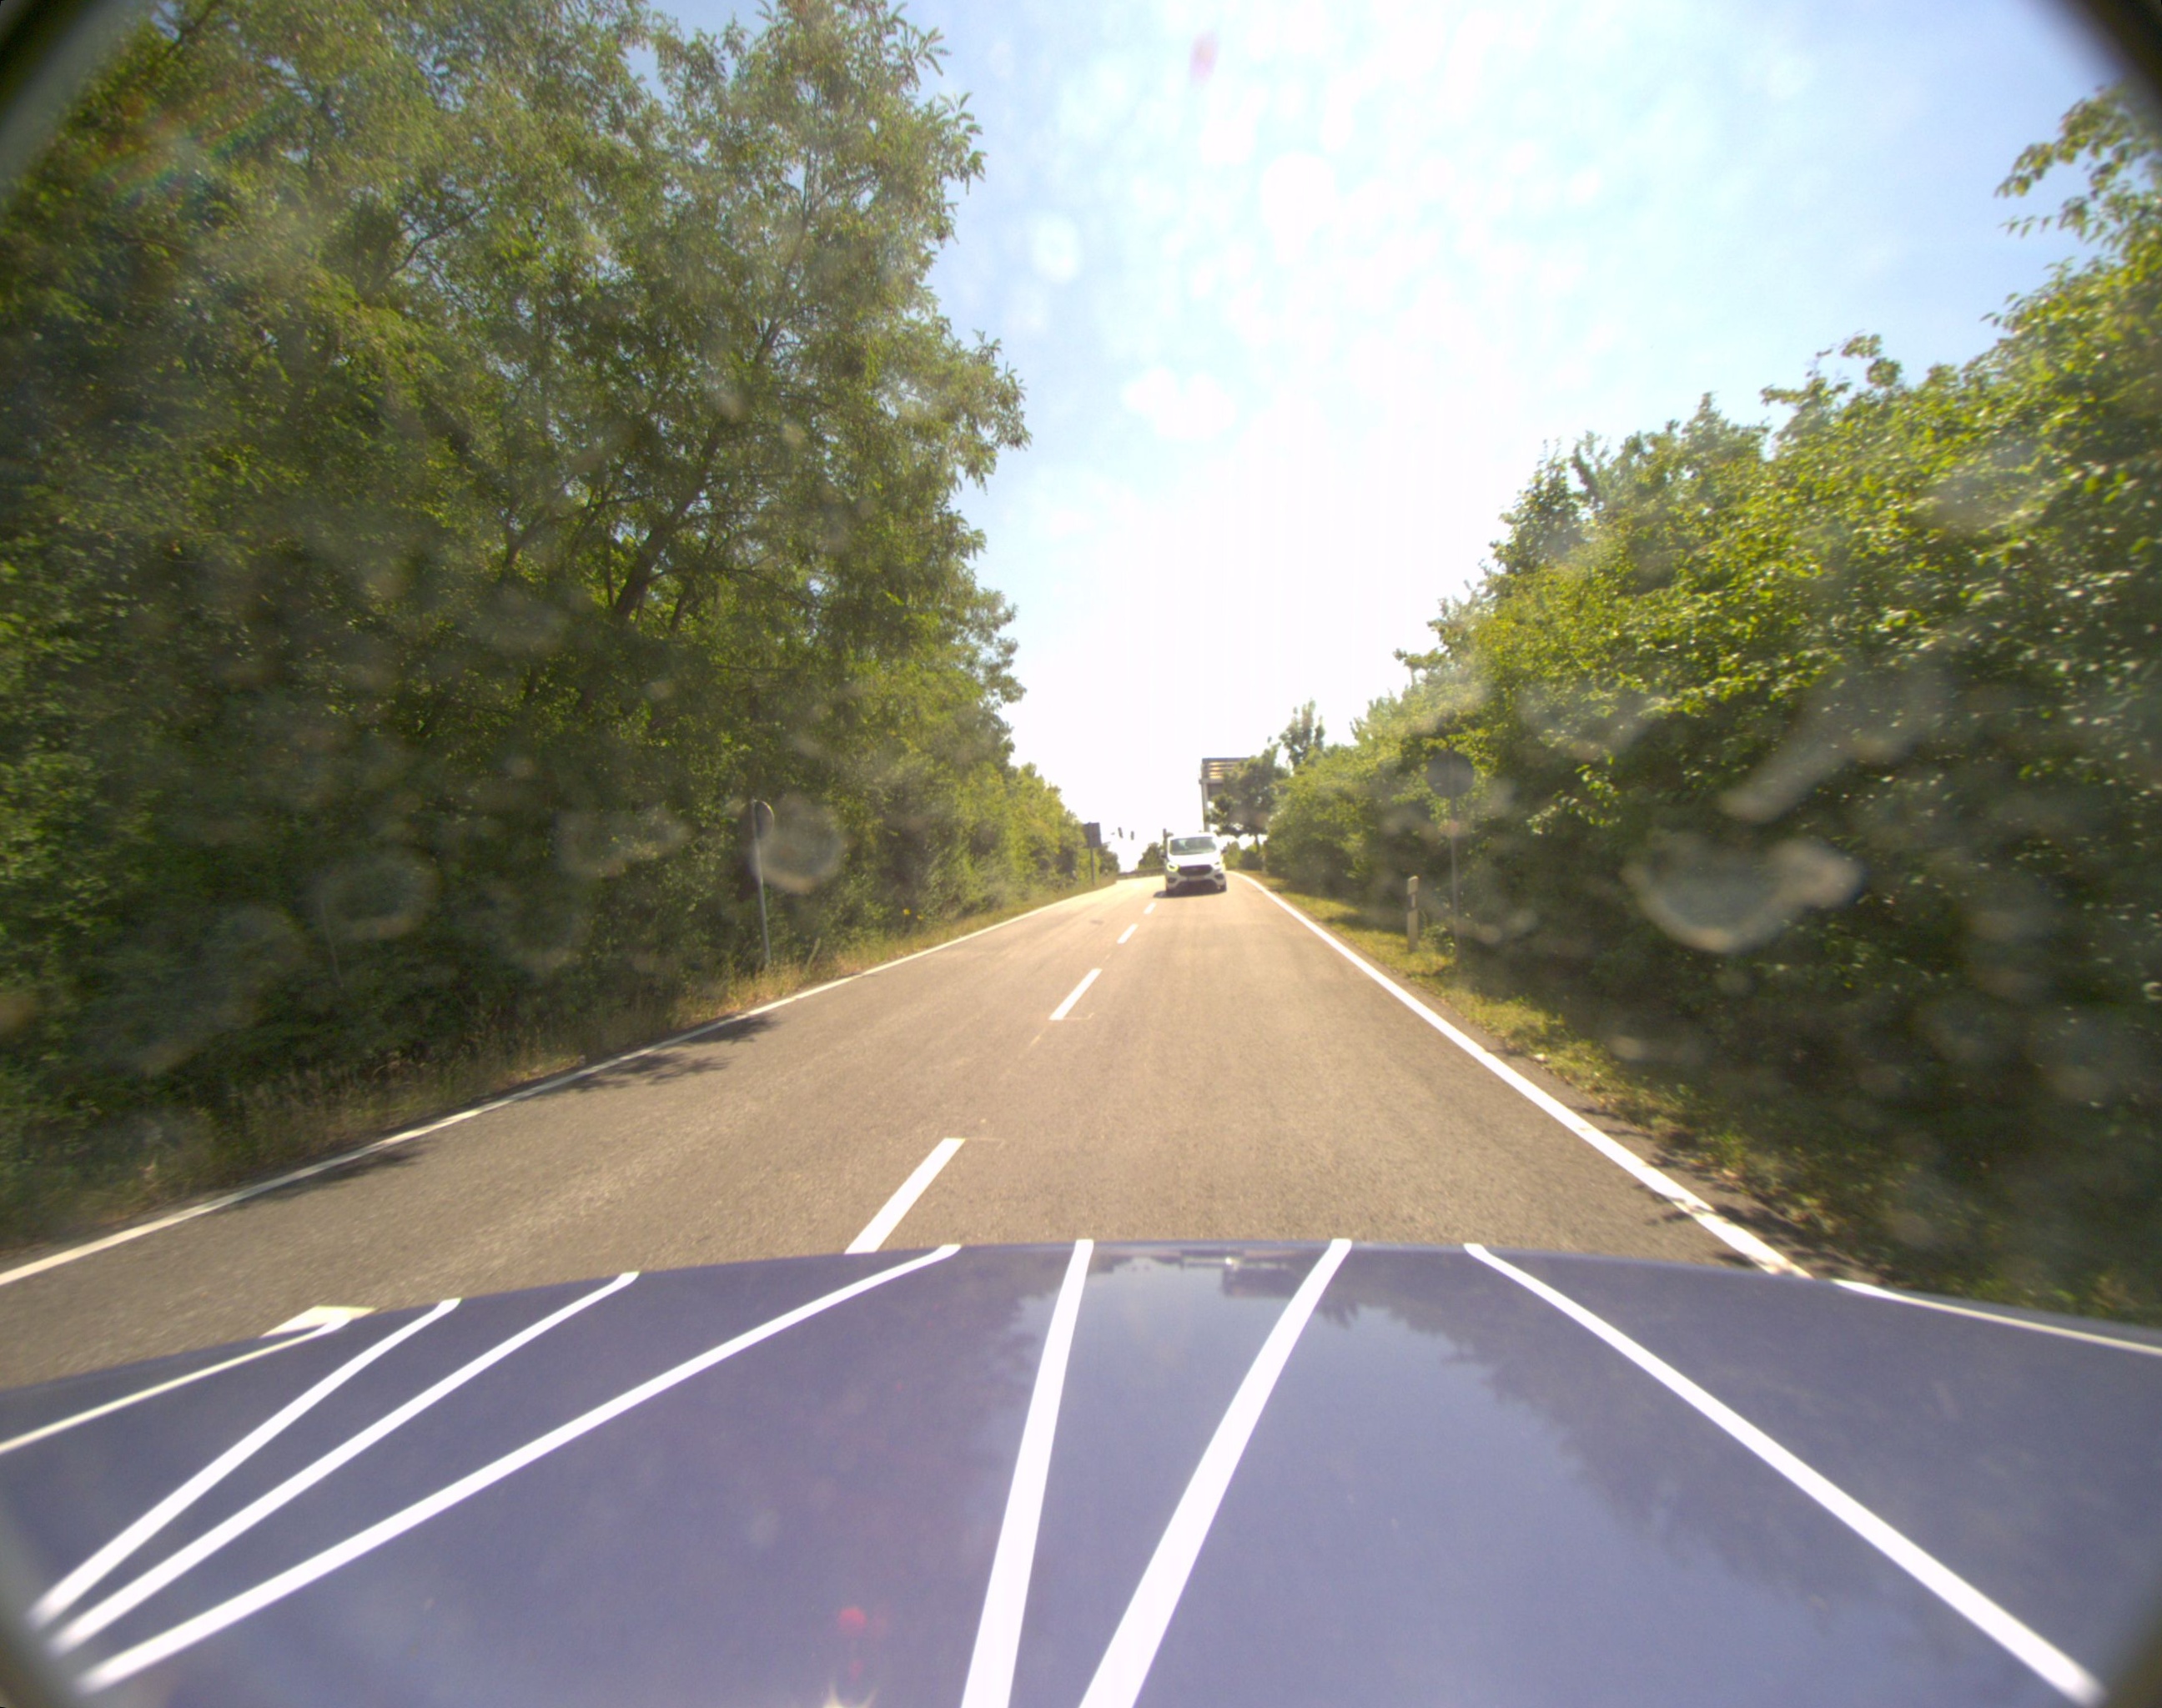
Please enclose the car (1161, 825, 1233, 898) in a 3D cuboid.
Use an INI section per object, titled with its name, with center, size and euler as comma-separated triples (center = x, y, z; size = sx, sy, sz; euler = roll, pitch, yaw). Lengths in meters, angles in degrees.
[car]
center = 3.964, 0.229, 26.202
size = 2.029, 2.072, 5.876
euler = -4, 0, 8
